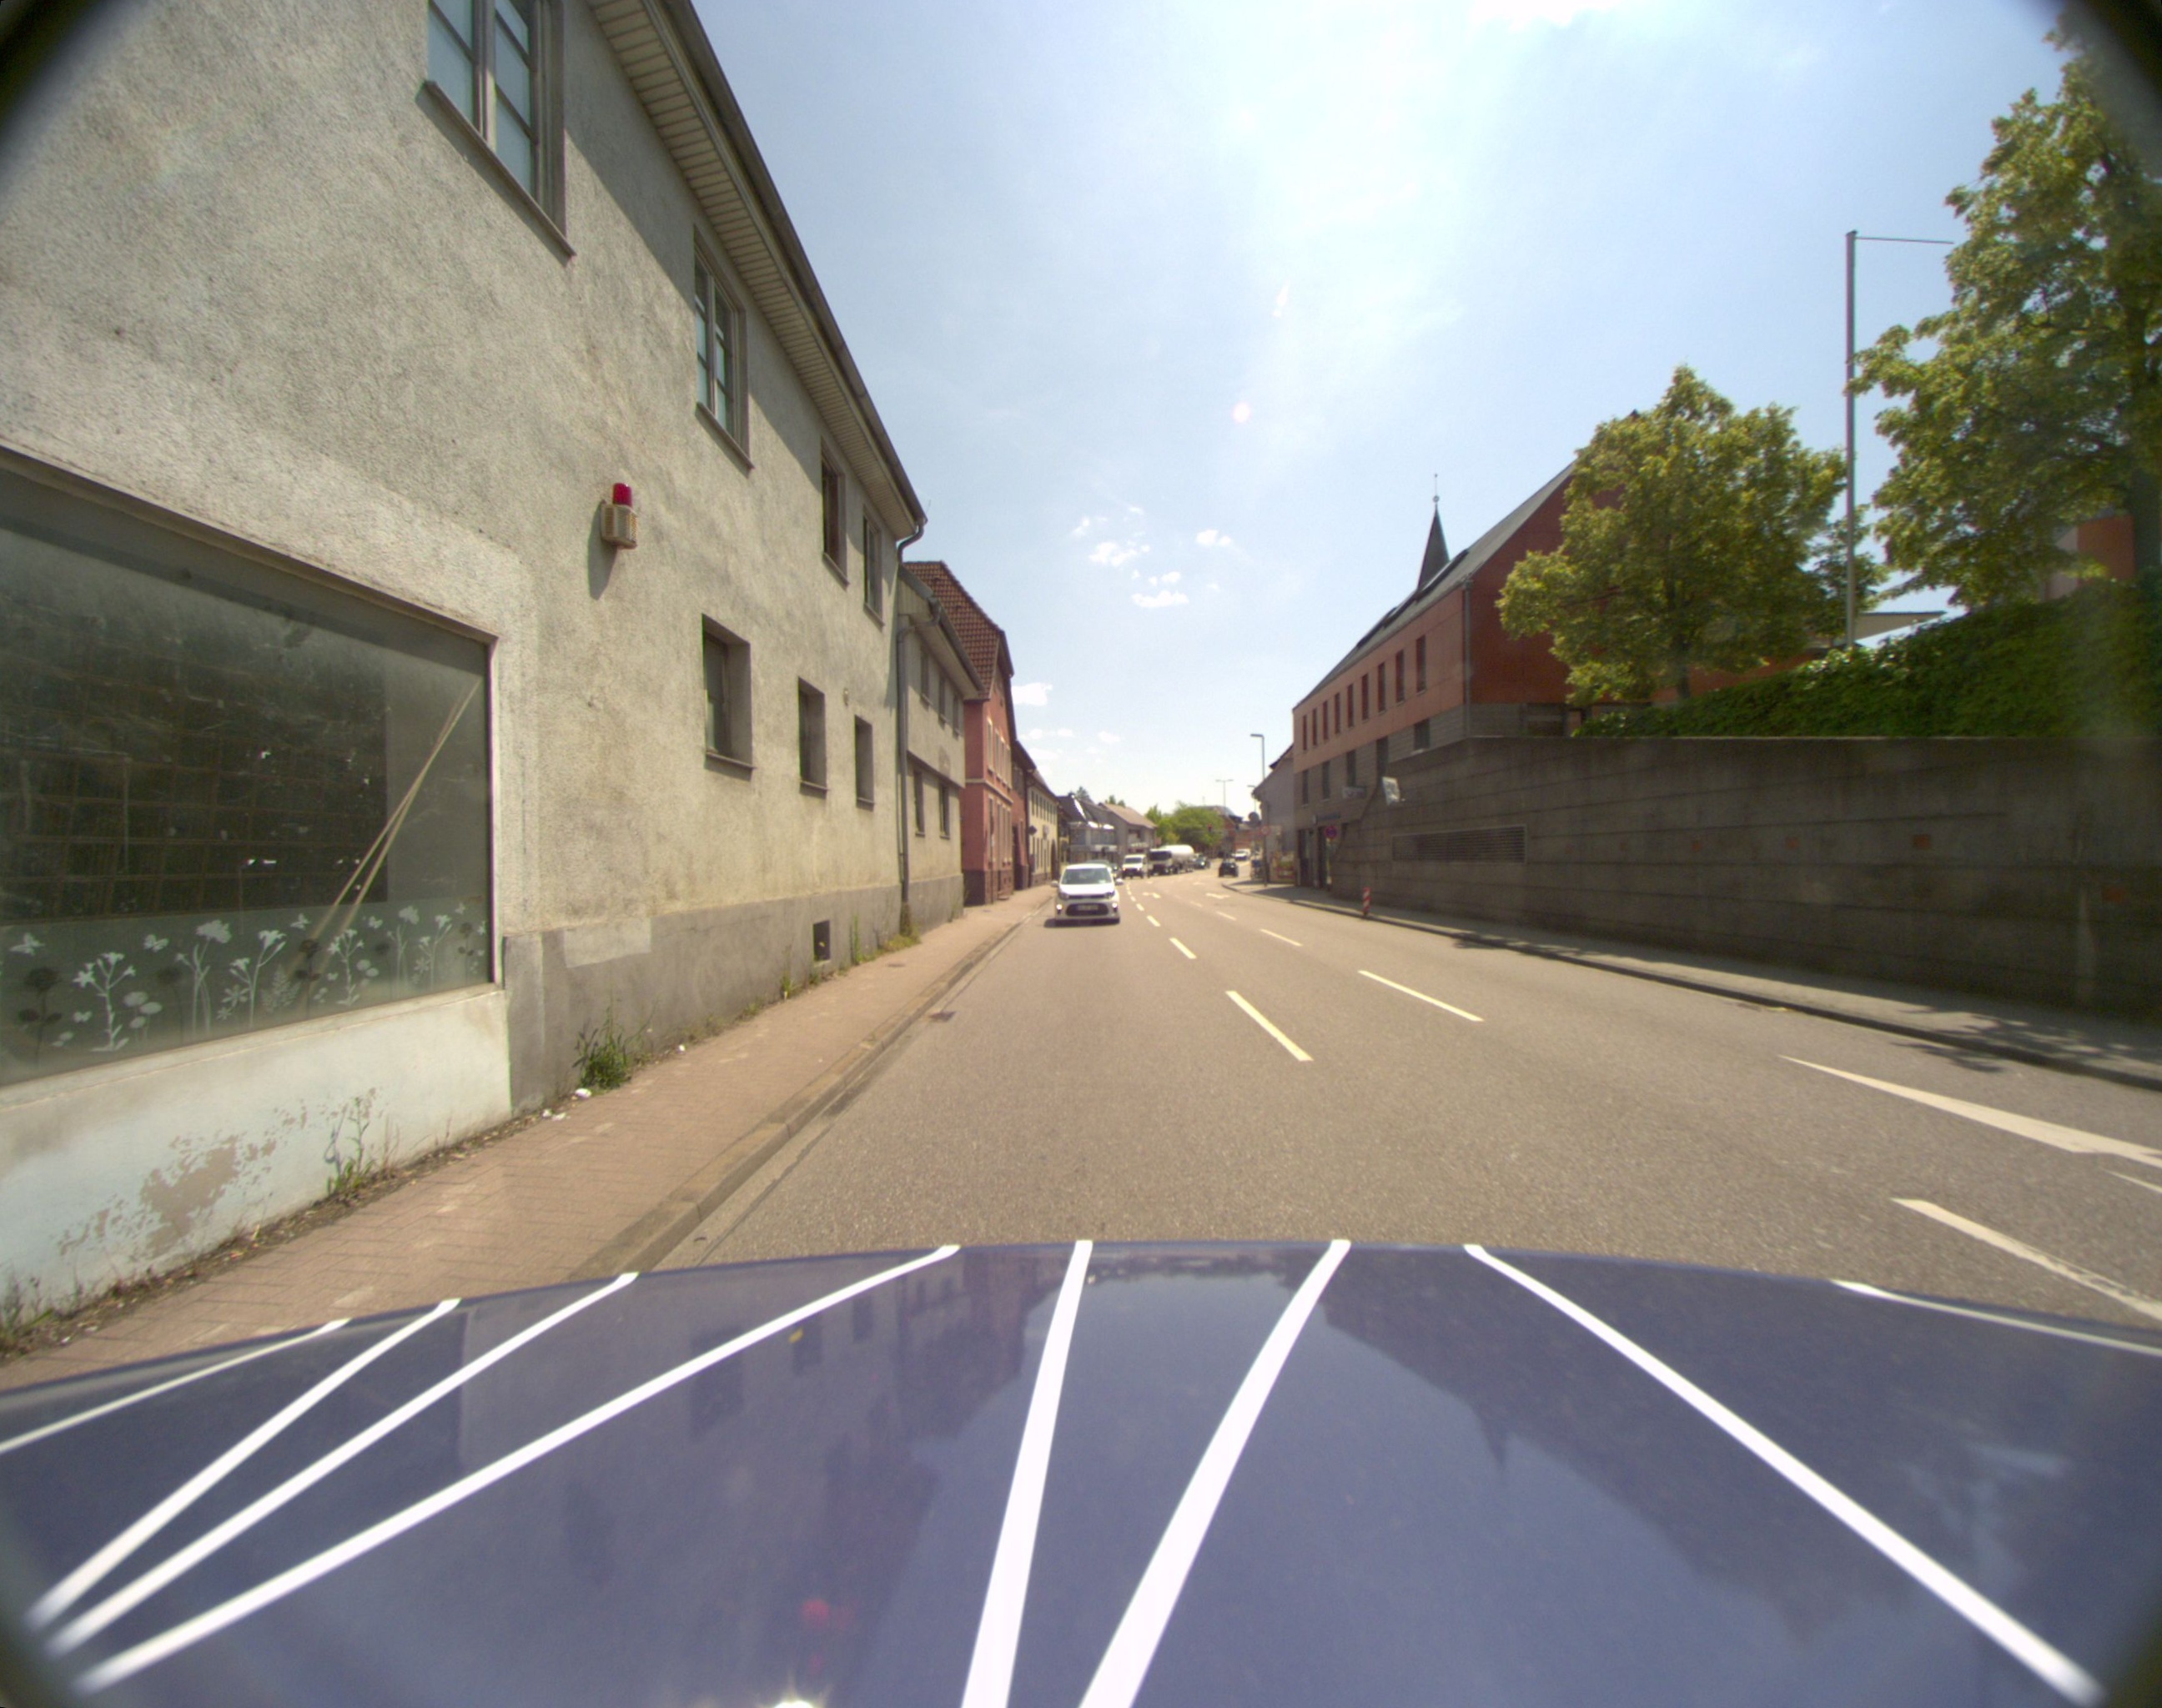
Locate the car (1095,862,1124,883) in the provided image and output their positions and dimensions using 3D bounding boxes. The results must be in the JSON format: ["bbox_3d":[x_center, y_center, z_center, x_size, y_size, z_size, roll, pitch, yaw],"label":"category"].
[{"bbox_3d":[2.101,1.333,55.120,1.928,1.358,4.305,-2,0,4],"label":"car"}]

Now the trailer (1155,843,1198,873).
[{"bbox_3d":[12.022,0.493,94.438,2.833,3.549,10.982,0,0,20],"label":"trailer"}]

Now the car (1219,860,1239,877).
[{"bbox_3d":[15.221,1.452,77.977,1.672,1.647,4.022,0,0,15],"label":"car"}]

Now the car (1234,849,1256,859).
[{"bbox_3d":[27.706,0.034,128.155,2.007,1.621,4.587,0,0,33],"label":"car"}]

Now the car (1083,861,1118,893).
[{"bbox_3d":[1.052,1.191,40.448,1.724,1.541,4.304,-2,0,2],"label":"car"}]

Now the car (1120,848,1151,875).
[{"bbox_3d":[5.338,0.695,73.817,2.173,2.548,4.829,0,0,13],"label":"car"}]

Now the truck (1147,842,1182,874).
[{"bbox_3d":[9.707,0.504,87.953,2.844,3.549,5.476,0,0,19],"label":"truck"}]

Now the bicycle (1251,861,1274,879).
[{"bbox_3d":[13.864,1.209,58.042,1.834,1.241,0.577,-2,-2,-34],"label":"bicycle"}]

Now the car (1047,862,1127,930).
[{"bbox_3d":[0.269,1.034,20.199,1.724,1.541,4.305,-2,0,5],"label":"car"}]

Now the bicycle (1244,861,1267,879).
[{"bbox_3d":[13.444,1.223,58.540,1.834,1.241,0.577,-2,-2,-34],"label":"bicycle"}]

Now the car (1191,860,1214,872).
[{"bbox_3d":[16.922,1.708,105.647,2.008,1.621,4.586,0,0,25],"label":"car"}]
